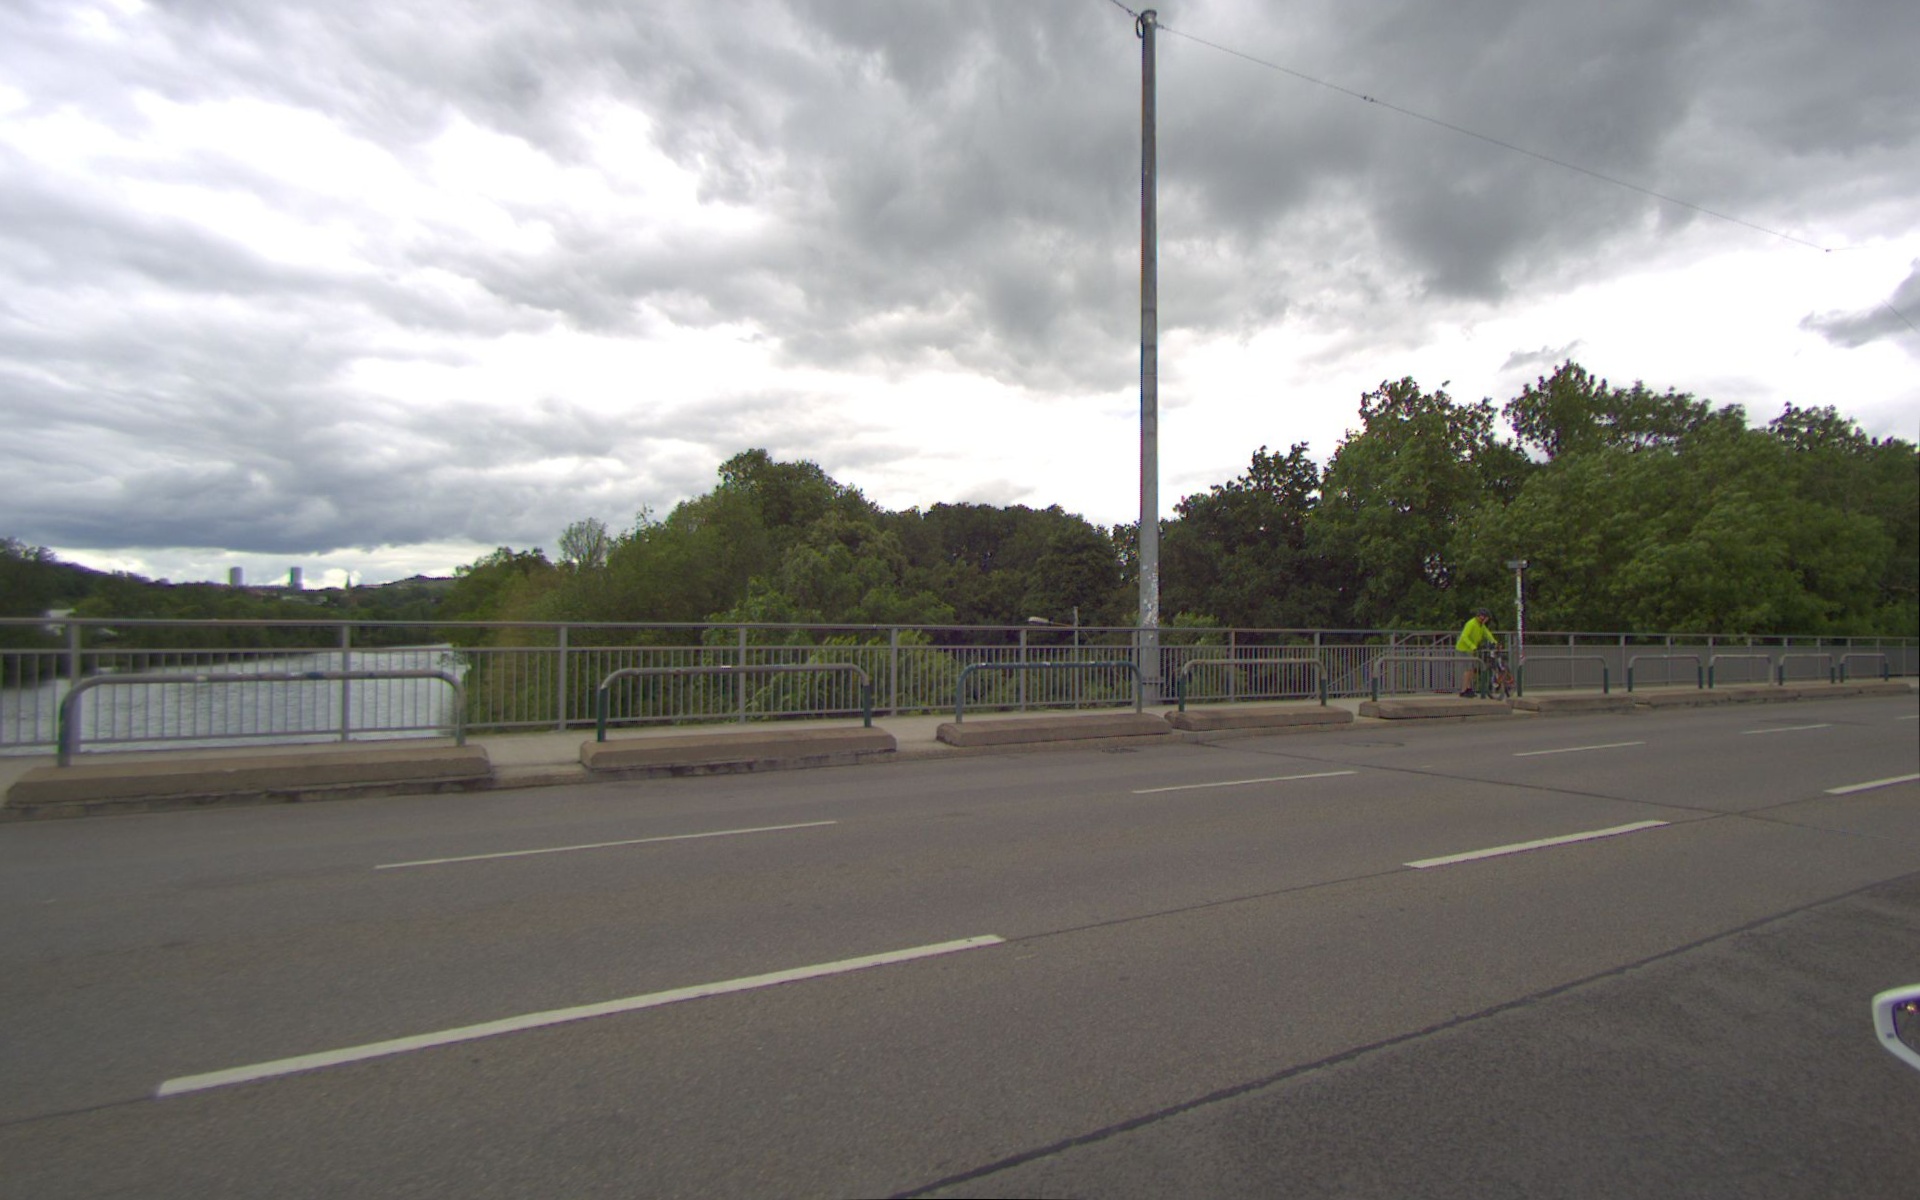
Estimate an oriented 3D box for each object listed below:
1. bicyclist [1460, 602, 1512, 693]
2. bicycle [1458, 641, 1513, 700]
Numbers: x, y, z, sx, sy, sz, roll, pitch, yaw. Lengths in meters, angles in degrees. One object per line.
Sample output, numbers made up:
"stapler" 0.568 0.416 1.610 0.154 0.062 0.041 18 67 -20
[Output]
"bicyclist" 10.713 0.945 20.442 0.889 1.788 1.134 0 -1 30
"bicycle" 10.710 1.390 20.421 0.904 1.065 2.795 0 -1 30
